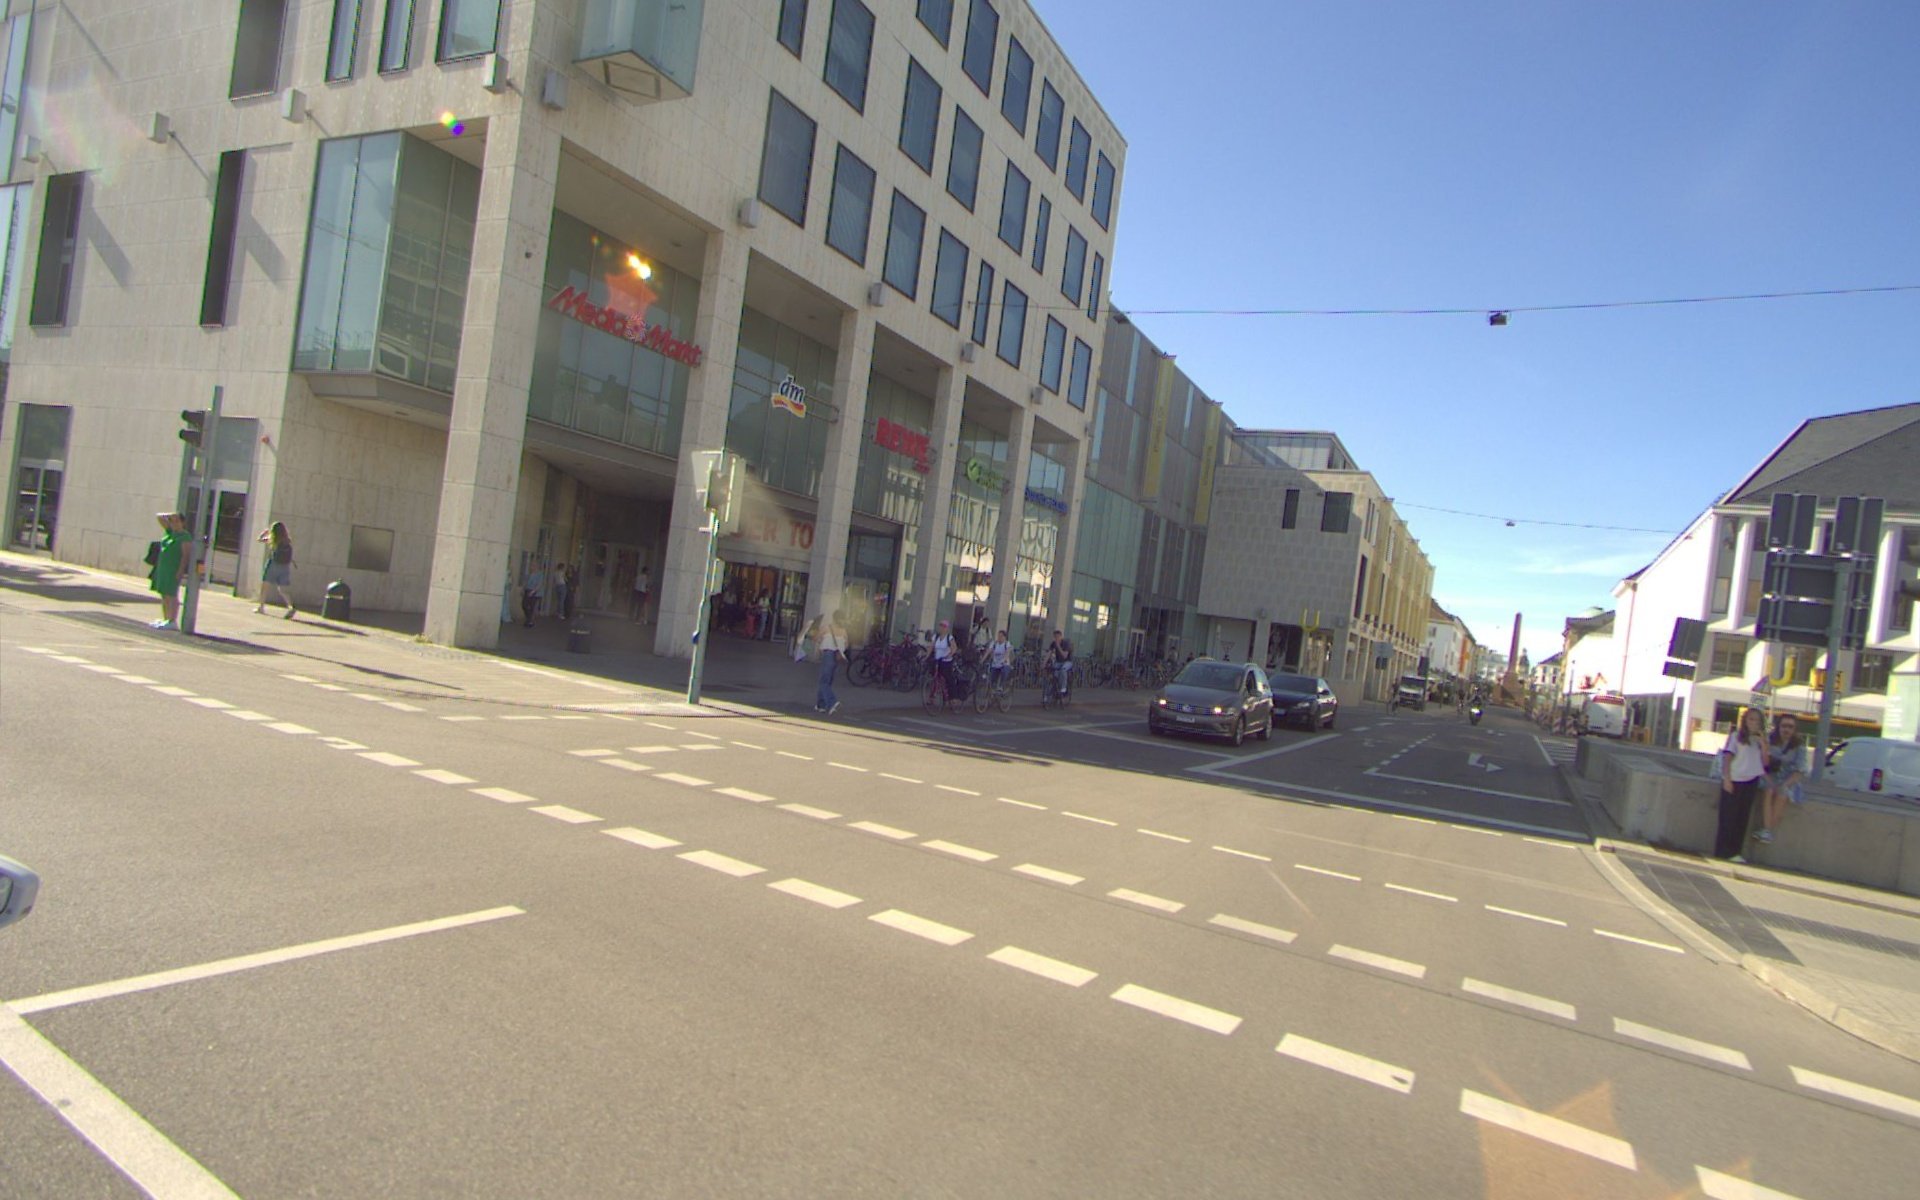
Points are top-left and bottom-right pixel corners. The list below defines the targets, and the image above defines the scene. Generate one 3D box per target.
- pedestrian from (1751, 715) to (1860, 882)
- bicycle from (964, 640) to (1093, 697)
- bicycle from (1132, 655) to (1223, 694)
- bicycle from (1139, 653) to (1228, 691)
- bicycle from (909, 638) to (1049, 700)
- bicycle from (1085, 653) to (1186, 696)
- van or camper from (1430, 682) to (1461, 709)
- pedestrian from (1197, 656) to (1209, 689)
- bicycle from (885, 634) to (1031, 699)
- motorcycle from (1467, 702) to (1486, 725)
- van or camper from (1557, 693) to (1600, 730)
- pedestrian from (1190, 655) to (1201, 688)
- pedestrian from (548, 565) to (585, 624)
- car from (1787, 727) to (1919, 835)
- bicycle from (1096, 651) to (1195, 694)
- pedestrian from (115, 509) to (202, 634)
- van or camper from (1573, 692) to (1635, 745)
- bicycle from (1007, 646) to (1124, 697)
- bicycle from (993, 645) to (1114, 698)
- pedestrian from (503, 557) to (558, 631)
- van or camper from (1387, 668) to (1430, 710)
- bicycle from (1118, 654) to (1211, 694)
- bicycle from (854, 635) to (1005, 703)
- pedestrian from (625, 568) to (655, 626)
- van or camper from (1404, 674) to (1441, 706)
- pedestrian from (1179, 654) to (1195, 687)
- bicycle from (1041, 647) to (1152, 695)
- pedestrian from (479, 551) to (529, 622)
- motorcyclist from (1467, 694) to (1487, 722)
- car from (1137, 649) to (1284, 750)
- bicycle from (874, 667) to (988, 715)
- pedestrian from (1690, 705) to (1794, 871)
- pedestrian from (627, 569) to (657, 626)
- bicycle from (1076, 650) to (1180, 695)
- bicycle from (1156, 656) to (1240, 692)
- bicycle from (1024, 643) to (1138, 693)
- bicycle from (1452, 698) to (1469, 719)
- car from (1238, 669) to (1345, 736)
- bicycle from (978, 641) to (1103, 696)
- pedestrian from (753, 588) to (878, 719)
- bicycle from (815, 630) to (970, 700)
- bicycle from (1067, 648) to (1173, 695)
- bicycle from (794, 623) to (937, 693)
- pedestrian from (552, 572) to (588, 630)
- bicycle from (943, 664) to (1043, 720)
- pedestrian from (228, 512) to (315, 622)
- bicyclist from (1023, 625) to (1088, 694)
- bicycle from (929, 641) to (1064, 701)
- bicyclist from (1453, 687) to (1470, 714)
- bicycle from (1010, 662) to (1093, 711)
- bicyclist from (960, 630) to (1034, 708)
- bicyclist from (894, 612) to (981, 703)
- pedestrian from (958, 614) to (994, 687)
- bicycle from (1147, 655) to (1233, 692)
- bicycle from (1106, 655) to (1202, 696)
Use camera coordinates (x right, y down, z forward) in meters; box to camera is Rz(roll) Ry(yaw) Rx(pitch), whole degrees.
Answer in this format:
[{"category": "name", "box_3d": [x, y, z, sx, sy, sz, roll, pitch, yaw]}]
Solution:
[{"category": "pedestrian", "box_3d": [9.136, 2.118, 10.896, 0.517, 1.633, 0.661, 7, 2, 17]}, {"category": "bicycle", "box_3d": [1.921, 1.931, 28.524, 3.437, 1.107, 1.068, 7, -1, 29]}, {"category": "bicycle", "box_3d": [9.046, 3.093, 41.896, 3.437, 1.107, 1.068, 7, -1, 29]}, {"category": "bicycle", "box_3d": [9.548, 3.090, 43.029, 3.437, 1.107, 1.068, 7, -1, 29]}, {"category": "bicycle", "box_3d": [0.480, 1.789, 26.184, 3.437, 1.107, 1.068, 7, -1, 29]}, {"category": "bicycle", "box_3d": [6.498, 2.763, 37.428, 3.437, 1.107, 1.068, 7, -1, 29]}, {"category": "van or camper", "box_3d": [52.835, 10.423, 109.439, 2.141, 2.543, 6.418, 7, -1, 31]}, {"category": "pedestrian", "box_3d": [13.115, 3.904, 54.237, 0.290, 1.704, 0.337, 8, 0, 35]}, {"category": "bicycle", "box_3d": [-0.077, 1.654, 25.166, 3.436, 1.107, 1.069, 7, -1, 28]}, {"category": "motorcycle", "box_3d": [27.989, 6.153, 54.489, 0.782, 1.111, 2.962, 7, -2, 28]}, {"category": "van or camper", "box_3d": [49.628, 8.902, 80.822, 2.283, 2.543, 6.421, 7, -1, 29]}, {"category": "pedestrian", "box_3d": [12.733, 3.858, 54.347, 0.290, 1.704, 0.337, 8, 0, 35]}, {"category": "pedestrian", "box_3d": [-11.485, -0.166, 29.379, 0.738, 1.627, 0.555, 8, 1, -10]}, {"category": "car", "box_3d": [18.860, 3.691, 20.601, 1.758, 1.753, 4.164, 8, -2, 24]}, {"category": "bicycle", "box_3d": [7.077, 2.774, 38.461, 3.437, 1.107, 1.068, 7, -1, 29]}, {"category": "pedestrian", "box_3d": [-11.691, -0.406, 14.679, 0.685, 1.725, 0.658, 8, 2, 24]}, {"category": "van or camper", "box_3d": [37.246, 6.793, 58.334, 2.283, 2.543, 6.421, 7, -1, 29]}, {"category": "bicycle", "box_3d": [3.309, 2.249, 31.753, 3.437, 1.107, 1.068, 7, -1, 29]}, {"category": "bicycle", "box_3d": [2.826, 2.166, 30.670, 3.437, 1.107, 1.068, 7, -1, 29]}, {"category": "pedestrian", "box_3d": [-10.245, -0.140, 24.026, 0.737, 1.627, 0.725, 8, 1, 27]}, {"category": "van or camper", "box_3d": [32.130, 6.366, 71.937, 2.140, 2.543, 6.422, 7, -1, 28]}, {"category": "bicycle", "box_3d": [8.277, 2.991, 40.763, 3.437, 1.107, 1.068, 7, -1, 29]}, {"category": "bicycle", "box_3d": [-0.761, 1.639, 24.063, 3.436, 1.107, 1.069, 7, -1, 28]}, {"category": "pedestrian", "box_3d": [-10.291, -0.105, 32.352, 0.639, 1.784, 0.555, 8, 1, -10]}, {"category": "van or camper", "box_3d": [42.069, 8.224, 91.380, 2.141, 2.543, 6.418, 7, -1, 31]}, {"category": "pedestrian", "box_3d": [12.496, 3.877, 55.354, 0.563, 1.704, 0.537, 8, 0, 19]}, {"category": "bicycle", "box_3d": [4.553, 2.376, 33.752, 3.437, 1.107, 1.068, 7, -1, 29]}, {"category": "pedestrian", "box_3d": [-11.140, -0.314, 24.590, 0.547, 1.627, 0.749, 8, 1, 25]}, {"category": "motorcyclist", "box_3d": [27.939, 5.833, 54.361, 0.782, 1.399, 1.082, 7, -1, 29]}, {"category": "car", "box_3d": [5.214, 2.001, 20.525, 1.829, 1.631, 4.195, 6, -2, 28]}, {"category": "bicycle", "box_3d": [-0.493, 1.663, 18.403, 1.054, 0.679, 2.197, 7, -1, 30]}, {"category": "pedestrian", "box_3d": [8.502, 2.021, 10.968, 0.517, 1.633, 0.661, 7, 2, 17]}, {"category": "pedestrian", "box_3d": [-10.438, -0.088, 33.031, 0.639, 1.784, 0.555, 8, 1, -10]}, {"category": "bicycle", "box_3d": [6.049, 2.623, 36.376, 3.437, 1.107, 1.068, 7, -1, 29]}, {"category": "bicycle", "box_3d": [10.654, 3.316, 45.087, 3.437, 1.107, 1.068, 7, -1, 29]}, {"category": "bicycle", "box_3d": [3.925, 2.218, 32.775, 3.437, 1.107, 1.068, 7, -1, 29]}, {"category": "bicycle", "box_3d": [32.683, 7.076, 65.703, 0.782, 1.228, 2.962, 7, -2, 28]}, {"category": "car", "box_3d": [8.948, 2.696, 26.905, 1.829, 1.437, 4.615, 6, -2, 28]}, {"category": "bicycle", "box_3d": [2.338, 2.013, 29.619, 3.437, 1.107, 1.068, 7, -1, 29]}, {"category": "pedestrian", "box_3d": [-2.283, 0.833, 15.925, 1.496, 1.824, 0.968, 7, 2, 26]}, {"category": "bicycle", "box_3d": [-1.580, 1.479, 23.182, 3.436, 1.107, 1.069, 7, -1, 28]}, {"category": "bicycle", "box_3d": [5.598, 2.501, 35.323, 3.437, 1.107, 1.068, 7, -1, 29]}, {"category": "bicycle", "box_3d": [-2.099, 1.273, 22.140, 2.939, 1.107, 1.069, 7, -1, 28]}, {"category": "pedestrian", "box_3d": [-11.636, 0.021, 30.030, 0.738, 1.627, 0.555, 8, 1, -10]}, {"category": "bicycle", "box_3d": [0.714, 1.884, 20.600, 1.054, 0.954, 2.197, 7, -1, 30]}, {"category": "pedestrian", "box_3d": [-12.337, -0.590, 18.033, 1.047, 1.824, 0.729, 7, 2, 26]}, {"category": "bicyclist", "box_3d": [2.211, 1.379, 23.223, 1.023, 1.451, 0.935, 7, 0, 30]}, {"category": "bicycle", "box_3d": [0.963, 1.905, 27.215, 3.437, 1.107, 1.068, 7, -1, 29]}, {"category": "bicyclist", "box_3d": [32.781, 6.570, 65.777, 0.782, 1.689, 0.955, 7, -1, 29]}, {"category": "bicycle", "box_3d": [2.145, 2.008, 23.272, 1.013, 0.943, 2.197, 7, -1, 30]}, {"category": "bicyclist", "box_3d": [0.761, 1.415, 20.561, 1.058, 1.413, 0.935, 7, 0, 30]}, {"category": "bicyclist", "box_3d": [-0.407, 1.067, 18.441, 1.054, 1.494, 1.024, 7, 0, 30]}, {"category": "pedestrian", "box_3d": [0.446, 1.416, 28.084, 0.727, 1.930, 0.637, 8, 0, 4]}, {"category": "bicycle", "box_3d": [10.070, 3.201, 44.079, 3.437, 1.107, 1.068, 7, -1, 29]}, {"category": "bicycle", "box_3d": [7.609, 2.957, 39.485, 3.437, 1.107, 1.068, 7, -1, 29]}]
